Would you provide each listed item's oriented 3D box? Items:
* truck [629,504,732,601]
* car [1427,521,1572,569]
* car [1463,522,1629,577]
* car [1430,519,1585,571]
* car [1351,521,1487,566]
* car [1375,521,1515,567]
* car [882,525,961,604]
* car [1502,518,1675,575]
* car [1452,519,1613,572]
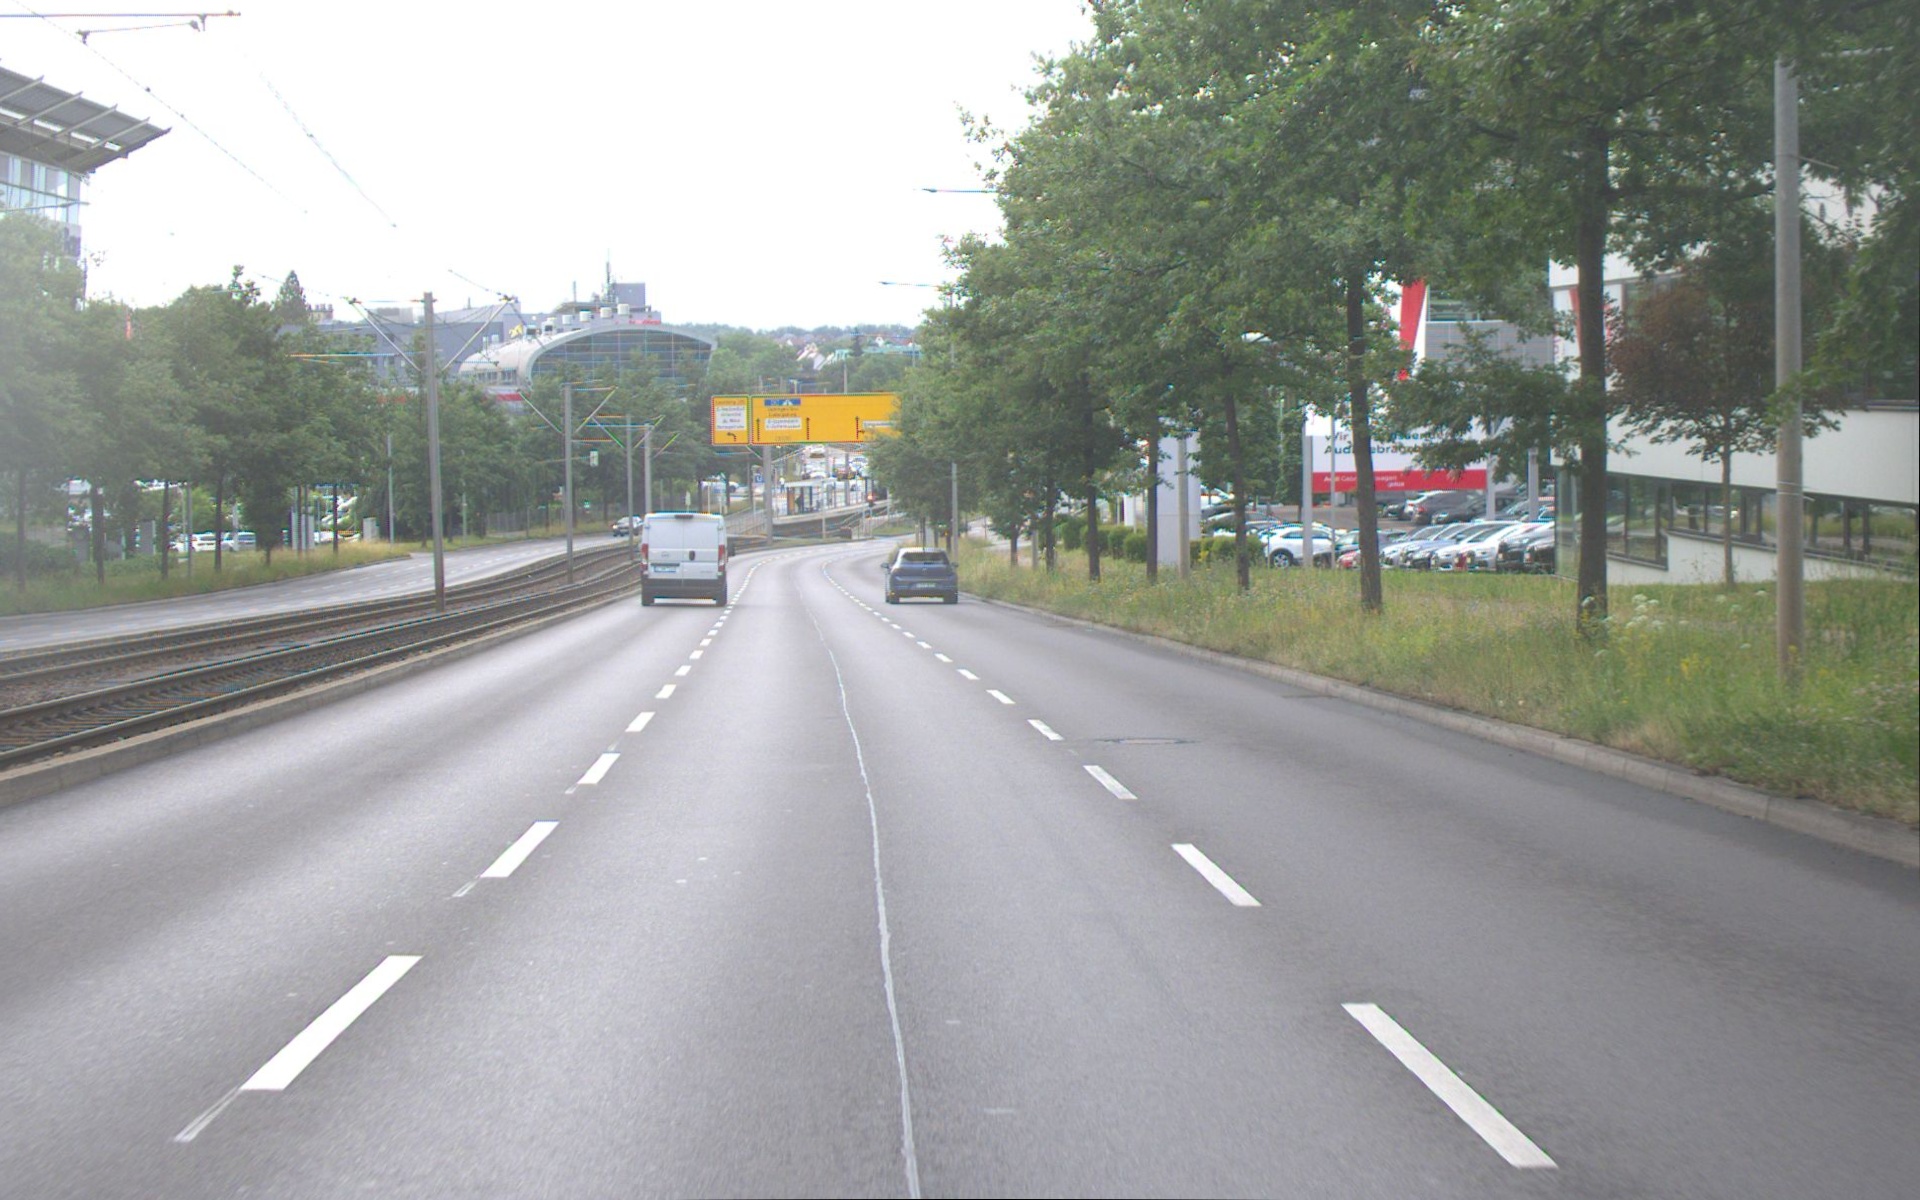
[{"bbox_3d":[-6.818,-1.177,84.323,2.360,2.254,5.306,1,1,-3],"label":"truck"},{"bbox_3d":[15.830,-1.626,101.093,3.987,1.349,2.000,1,1,2],"label":"car"},{"bbox_3d":[15.167,-1.313,89.118,3.987,1.349,2.000,1,1,2],"label":"car"},{"bbox_3d":[15.033,-1.515,94.566,3.987,1.349,2.000,1,1,2],"label":"car"},{"bbox_3d":[14.272,-1.757,107.007,3.987,1.349,2.000,1,1,2],"label":"car"},{"bbox_3d":[14.655,-1.696,104.012,3.987,1.349,2.000,1,1,2],"label":"car"},{"bbox_3d":[-1.013,-0.940,89.630,1.993,2.007,3.935,1,1,-1],"label":"car"},{"bbox_3d":[15.675,-1.346,85.936,3.987,1.349,2.000,1,1,2],"label":"car"},{"bbox_3d":[15.242,-1.459,91.711,3.987,1.349,2.000,1,1,2],"label":"car"}]
